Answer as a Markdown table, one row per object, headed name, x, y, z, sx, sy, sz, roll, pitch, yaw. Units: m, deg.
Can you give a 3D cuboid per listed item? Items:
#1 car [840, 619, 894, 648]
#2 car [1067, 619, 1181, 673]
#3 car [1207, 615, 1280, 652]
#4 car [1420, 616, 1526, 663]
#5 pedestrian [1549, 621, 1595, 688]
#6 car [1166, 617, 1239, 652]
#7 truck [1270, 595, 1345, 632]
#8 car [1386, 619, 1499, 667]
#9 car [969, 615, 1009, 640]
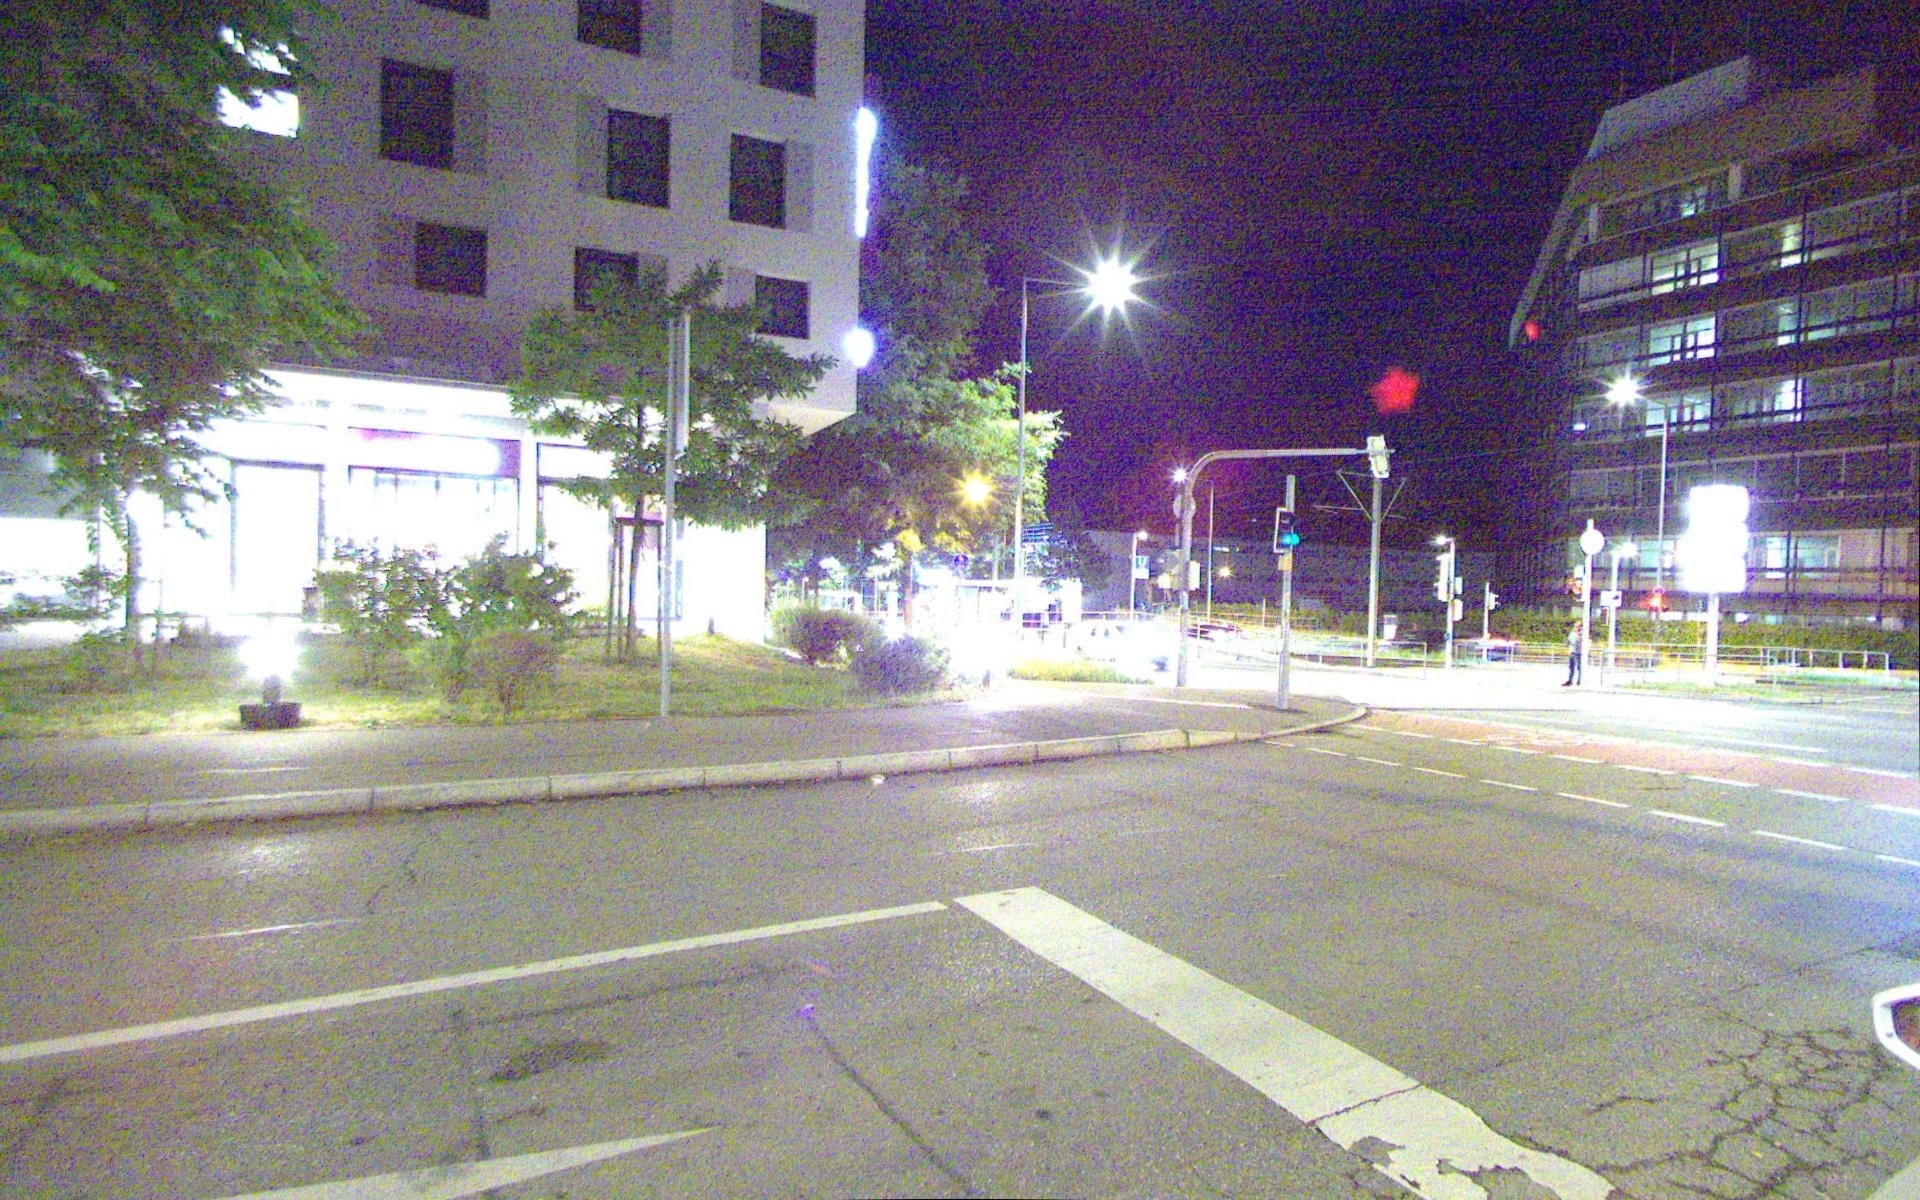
| name | x | y | z | sx | sy | sz | roll | pitch | yaw |
| --- | --- | --- | --- | --- | --- | --- | --- | --- | --- |
| car | -5.586 | 1.994 | 59.937 | 1.787 | 1.673 | 4.327 | 1 | -2 | -27 |
| car | 5.569 | 1.514 | 34.681 | 1.849 | 1.705 | 4.272 | 0 | -1 | -24 |
| car | 16.921 | 1.985 | 60.077 | 1.976 | 2.040 | 3.970 | 2 | 0 | -29 |
| car | 23.720 | 1.859 | 46.554 | 1.976 | 2.040 | 3.971 | 2 | -3 | -29 |
| pedestrian | 15.590 | 1.374 | 25.580 | 0.854 | 1.656 | 0.665 | 2 | 1 | -34 |
| car | 14.230 | 2.003 | 59.113 | 1.820 | 1.837 | 4.134 | 2 | -1 | -29 |
| truck | 30.866 | 1.180 | 89.458 | 2.877 | 3.129 | 5.873 | 2 | 0 | -28 |
| car | 21.231 | 1.919 | 44.338 | 1.974 | 2.000 | 4.169 | 2 | -3 | -26 |
| car | 2.478 | 2.395 | 87.549 | 1.973 | 2.040 | 3.977 | 2 | -3 | -24 |
